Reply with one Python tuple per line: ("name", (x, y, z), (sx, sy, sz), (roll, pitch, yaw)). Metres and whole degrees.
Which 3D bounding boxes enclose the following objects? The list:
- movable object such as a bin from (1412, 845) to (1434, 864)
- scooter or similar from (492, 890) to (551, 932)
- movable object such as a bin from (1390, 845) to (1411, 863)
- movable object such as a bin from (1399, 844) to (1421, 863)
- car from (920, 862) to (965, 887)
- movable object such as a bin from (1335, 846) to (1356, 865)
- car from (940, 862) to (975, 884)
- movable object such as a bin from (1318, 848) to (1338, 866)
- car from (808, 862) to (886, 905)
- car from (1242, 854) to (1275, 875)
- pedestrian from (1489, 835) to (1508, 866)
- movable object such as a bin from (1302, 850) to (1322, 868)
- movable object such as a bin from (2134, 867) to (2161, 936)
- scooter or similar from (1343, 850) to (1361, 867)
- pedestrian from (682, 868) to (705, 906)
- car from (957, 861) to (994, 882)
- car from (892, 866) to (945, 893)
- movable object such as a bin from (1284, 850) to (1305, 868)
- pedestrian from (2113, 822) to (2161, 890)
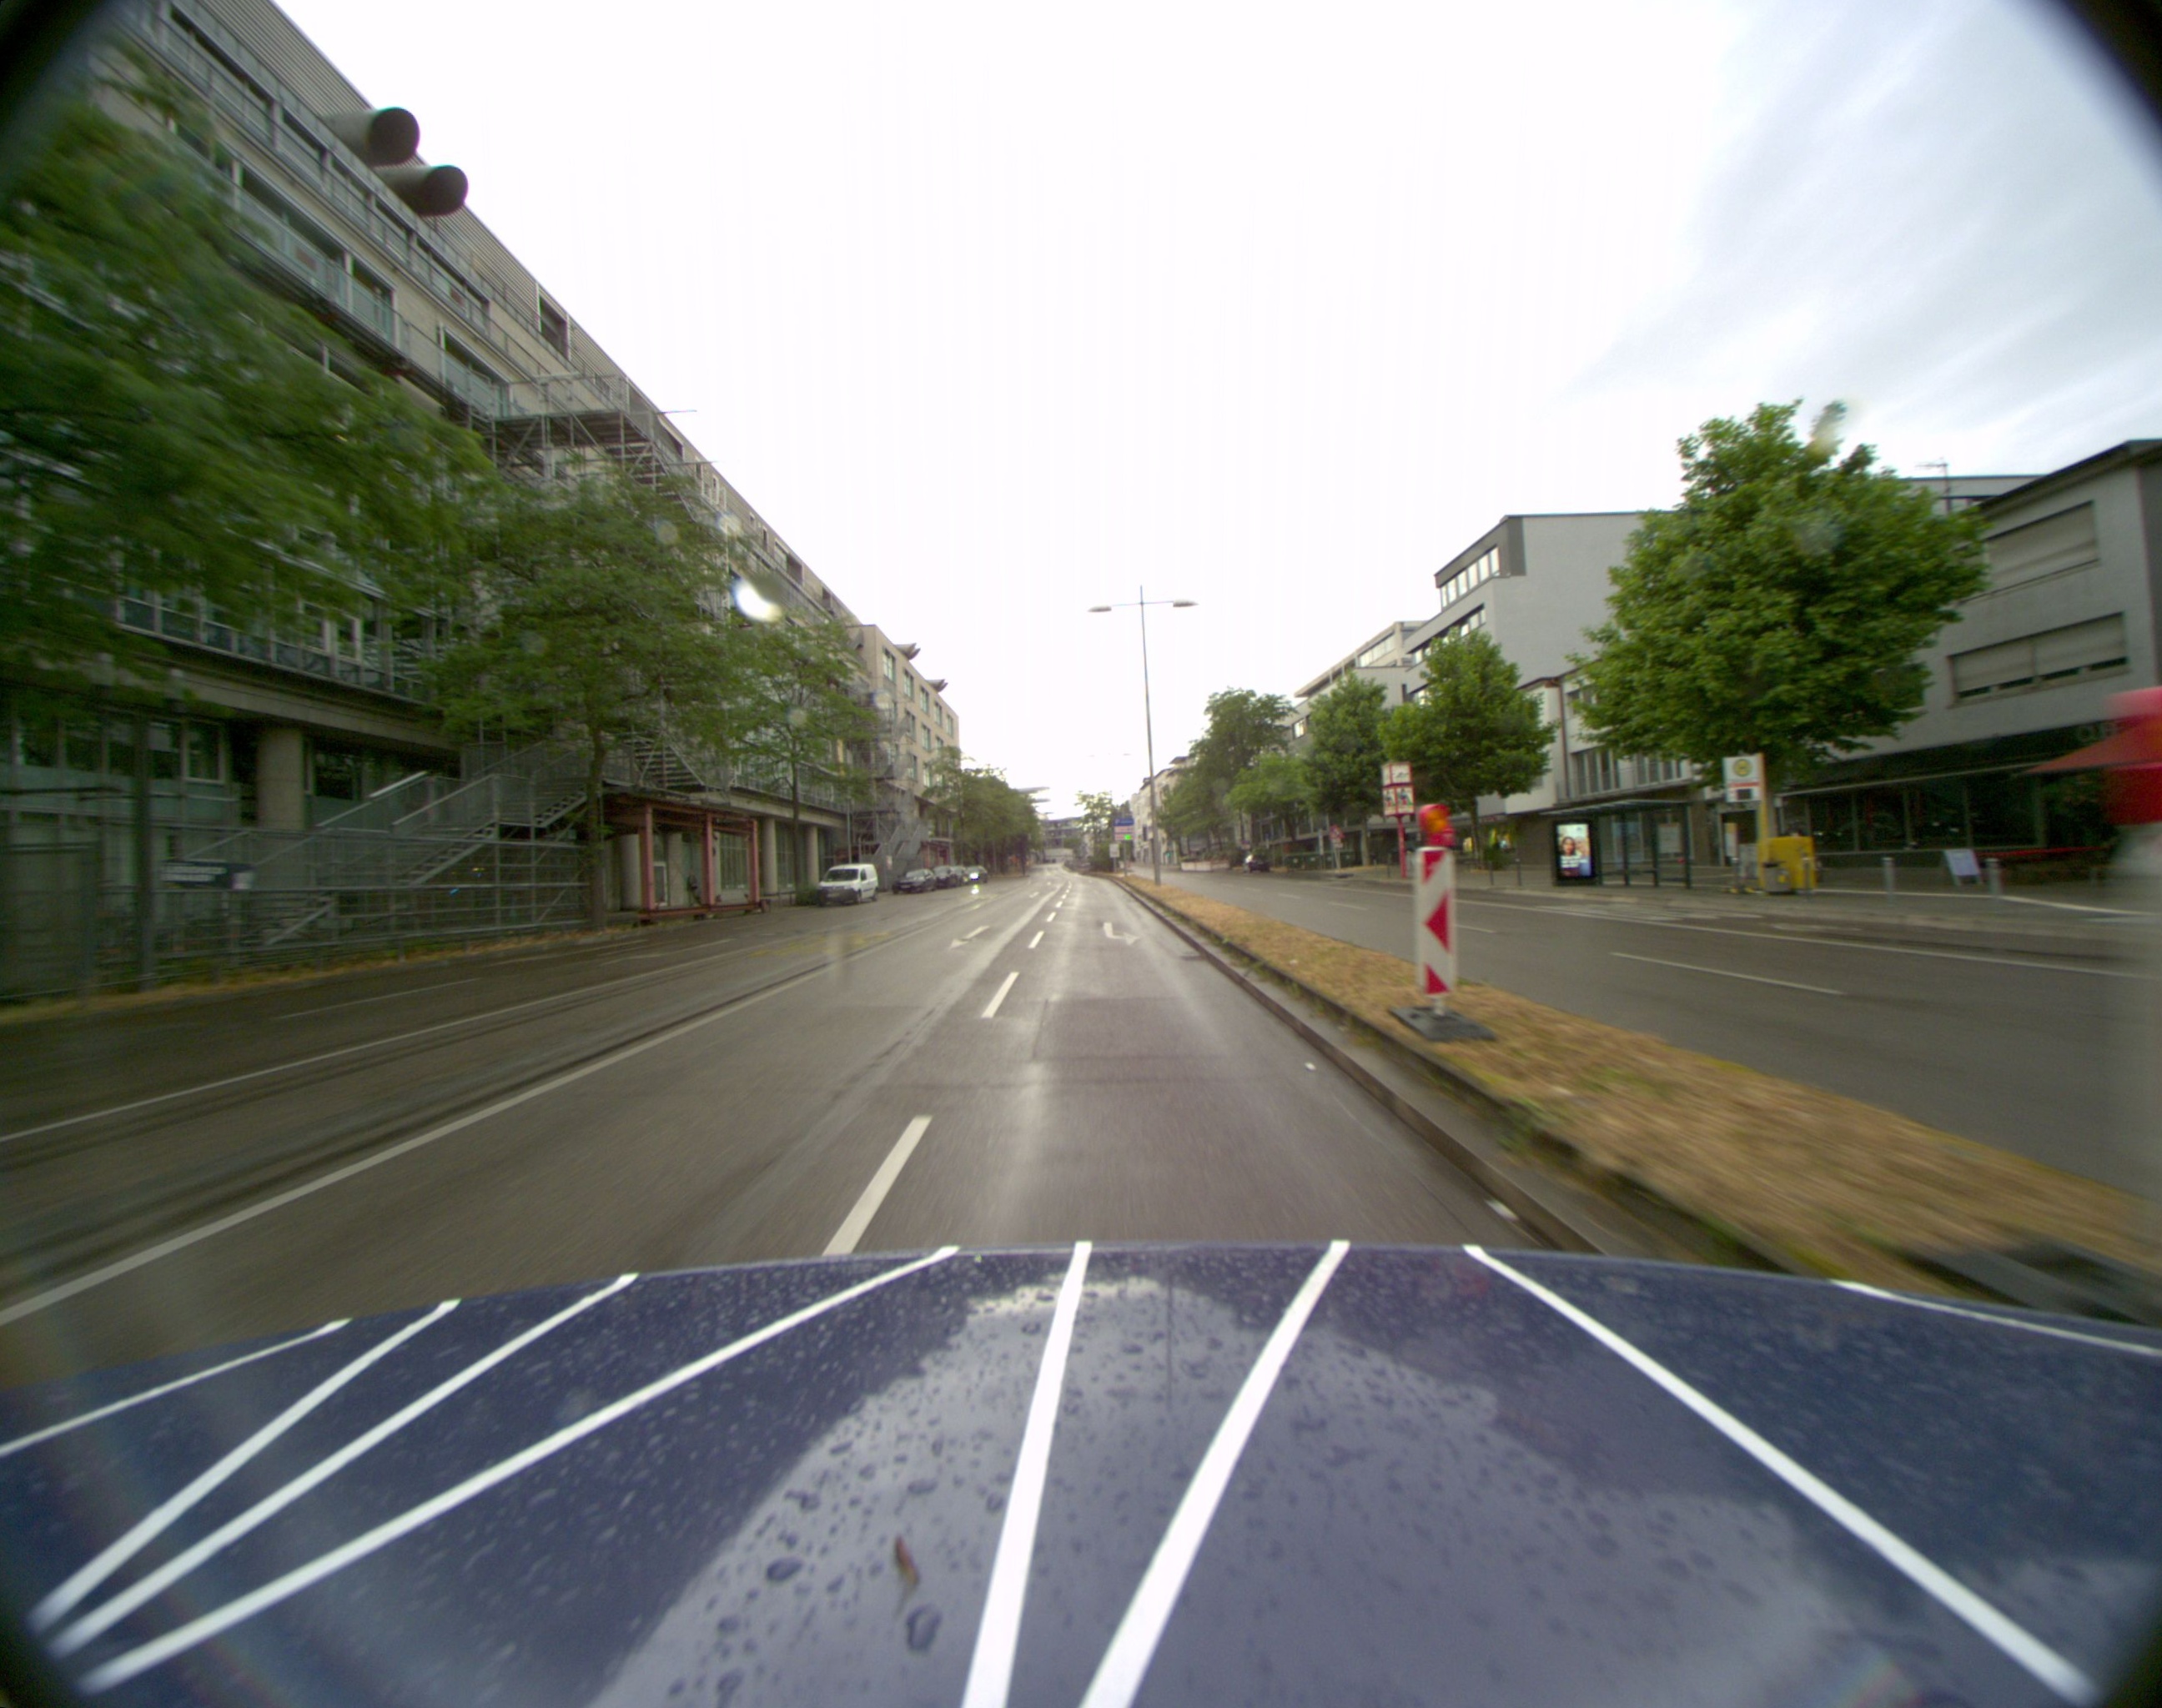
("movable object such as a bin", (27.253, 0.032, 60.552), (1.088, 1.427, 1.281), (-2, 0, -9))
("scooter or similar", (-17.227, 1.733, 23.434), (0.633, 1.154, 1.547), (-2, 0, 1))
("movable object such as a bin", (26.664, 0.031, 63.471), (1.088, 1.427, 1.281), (-2, 0, -9))
("movable object such as a bin", (26.849, -0.035, 61.932), (1.088, 1.427, 1.281), (-2, 0, -9))
("car", (-9.586, 1.382, 52.933), (1.998, 1.636, 4.863), (-2, 0, 3))
("movable object such as a bin", (21.718, 0.125, 62.462), (1.281, 1.479, 1.088), (-2, 0, 1))
("car", (-9.432, 1.430, 58.308), (1.866, 1.591, 4.593), (-2, 0, 1))
("movable object such as a bin", (20.324, 0.247, 62.472), (1.281, 1.418, 1.088), (-2, 0, 1))
("car", (-10.480, 1.277, 34.395), (1.998, 1.739, 4.527), (-2, 0, 1))
("car", (15.305, 0.855, 65.826), (1.783, 1.626, 4.022), (-2, 2, -2))
("pedestrian", (23.628, -0.197, 42.980), (0.698, 1.753, 0.653), (-2, 0, 3))
("movable object such as a bin", (18.973, 0.375, 62.449), (1.281, 1.418, 1.088), (-2, 0, 1))
("movable object such as a bin", (14.441, 0.626, 9.899), (0.533, 0.892, 0.682), (-1, 0, -9))
("scooter or similar", (19.636, 0.352, 55.120), (0.777, 1.114, 1.324), (-5, -3, 2))
("pedestrian", (-18.157, 1.521, 35.592), (0.677, 1.732, 0.653), (-2, 0, 3))
("car", (-8.828, 1.451, 64.226), (1.998, 1.591, 5.291), (-2, 0, 4))
("car", (-9.787, 1.496, 46.140), (1.873, 1.429, 4.922), (-2, 0, 3))
("movable object such as a bin", (17.533, 0.419, 62.449), (1.362, 1.418, 1.088), (-2, 0, 1))
("pedestrian", (23.039, 0.032, 16.233), (0.691, 1.442, 0.914), (-2, 0, -3))
